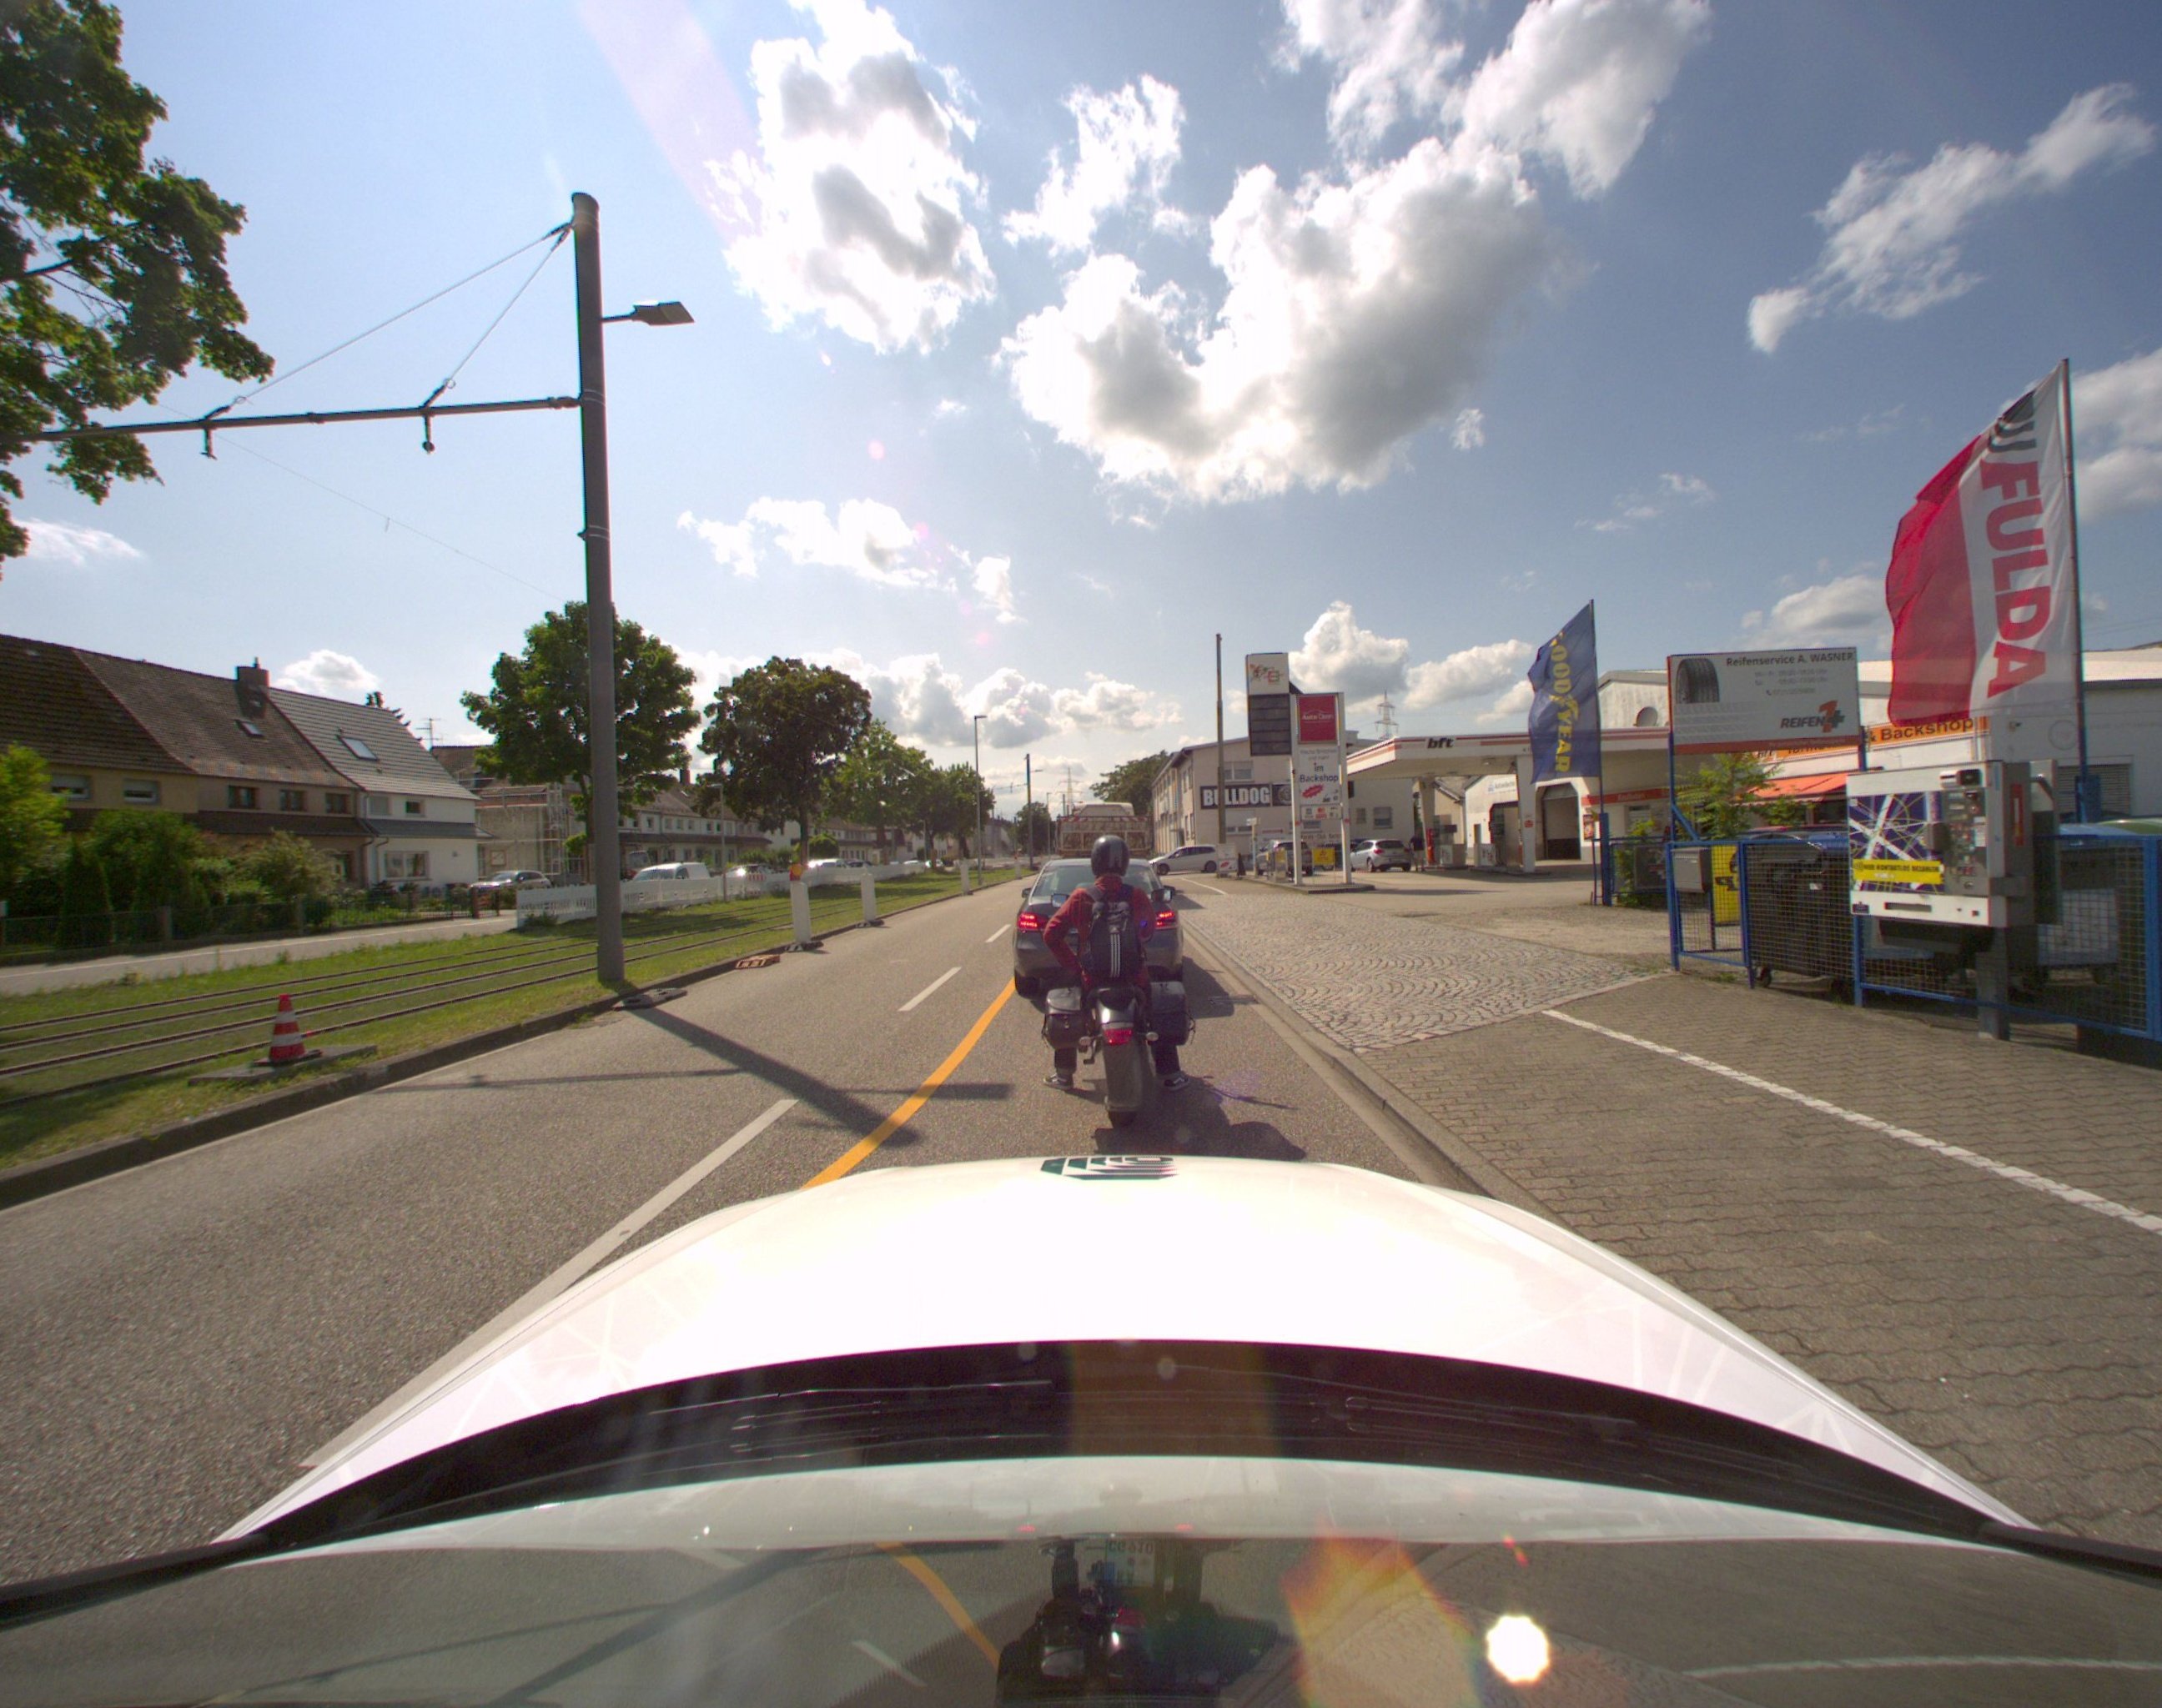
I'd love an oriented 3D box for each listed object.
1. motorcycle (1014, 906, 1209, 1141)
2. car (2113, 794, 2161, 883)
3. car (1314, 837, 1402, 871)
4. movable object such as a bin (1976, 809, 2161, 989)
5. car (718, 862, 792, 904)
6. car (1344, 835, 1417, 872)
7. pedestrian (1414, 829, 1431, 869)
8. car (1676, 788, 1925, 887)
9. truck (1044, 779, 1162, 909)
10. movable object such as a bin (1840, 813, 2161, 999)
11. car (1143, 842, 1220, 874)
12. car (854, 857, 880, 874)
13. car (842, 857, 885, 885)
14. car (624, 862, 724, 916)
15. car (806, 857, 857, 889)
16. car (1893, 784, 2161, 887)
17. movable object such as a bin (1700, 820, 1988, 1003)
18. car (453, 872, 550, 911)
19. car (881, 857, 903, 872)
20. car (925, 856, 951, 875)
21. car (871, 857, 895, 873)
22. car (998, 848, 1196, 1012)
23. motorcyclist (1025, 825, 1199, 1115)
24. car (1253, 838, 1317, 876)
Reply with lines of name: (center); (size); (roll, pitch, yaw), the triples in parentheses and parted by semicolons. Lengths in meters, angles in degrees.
motorcycle: (0.192, 0.933, 5.325); (0.972, 1.013, 2.433); (-1, 0, 2)
car: (26.350, -0.434, 18.196); (3.972, 2.013, 2.001); (-2, 0, 1)
car: (14.659, -0.004, 43.200); (4.086, 1.624, 1.688); (-2, 0, 5)
movable object such as a bin: (9.447, 0.336, 7.201); (1.425, 1.454, 1.455); (-2, 0, 0)
car: (-15.327, 1.324, 38.499); (1.692, 1.739, 4.056); (-2, 0, 2)
car: (13.536, -0.024, 37.080); (1.826, 1.479, 4.009); (-3, 0, 1)
pedestrian: (14.840, -0.210, 35.399); (0.628, 1.683, 0.626); (-2, 0, 23)
car: (16.599, -0.372, 18.972); (3.972, 2.013, 2.001); (-2, 0, 1)
truck: (0.640, -0.282, 25.616); (2.960, 3.304, 8.407); (-2, 0, 1)
movable object such as a bin: (8.101, 0.416, 7.291); (1.222, 1.454, 1.455); (-2, 0, 0)
car: (5.764, 0.226, 47.060); (4.100, 1.624, 1.682); (-3, 0, -7)
car: (-24.464, 1.299, 93.151); (1.692, 1.739, 4.064); (-2, 0, 2)
car: (-14.869, 1.139, 55.770); (1.692, 1.739, 3.862); (-2, 0, 2)
car: (-15.420, 1.278, 31.068); (1.692, 1.817, 3.862); (-2, 0, 2)
car: (-15.061, 1.110, 49.403); (1.692, 1.739, 3.862); (-2, 0, 2)
car: (21.247, -0.401, 18.280); (3.972, 2.013, 2.001); (-2, 0, 1)
movable object such as a bin: (6.822, 0.471, 7.415); (1.222, 1.454, 1.455); (-2, 0, 0)
car: (-27.481, 1.731, 38.805); (1.692, 1.593, 3.862); (-2, 0, 2)
car: (-24.378, 1.341, 105.377); (1.692, 1.739, 4.064); (-2, 0, 2)
car: (-14.062, 1.144, 80.204); (1.692, 1.739, 3.862); (-2, 0, 2)
car: (-24.066, 1.335, 98.900); (1.692, 1.739, 4.064); (-2, 0, 2)
car: (0.186, 0.719, 9.789); (1.826, 1.479, 4.009); (-3, 0, 1)
motorcyclist: (0.192, 0.654, 5.207); (0.966, 1.633, 1.215); (-1, 0, 1)
car: (9.097, 0.120, 36.618); (1.826, 1.536, 4.009); (-3, 0, 1)
